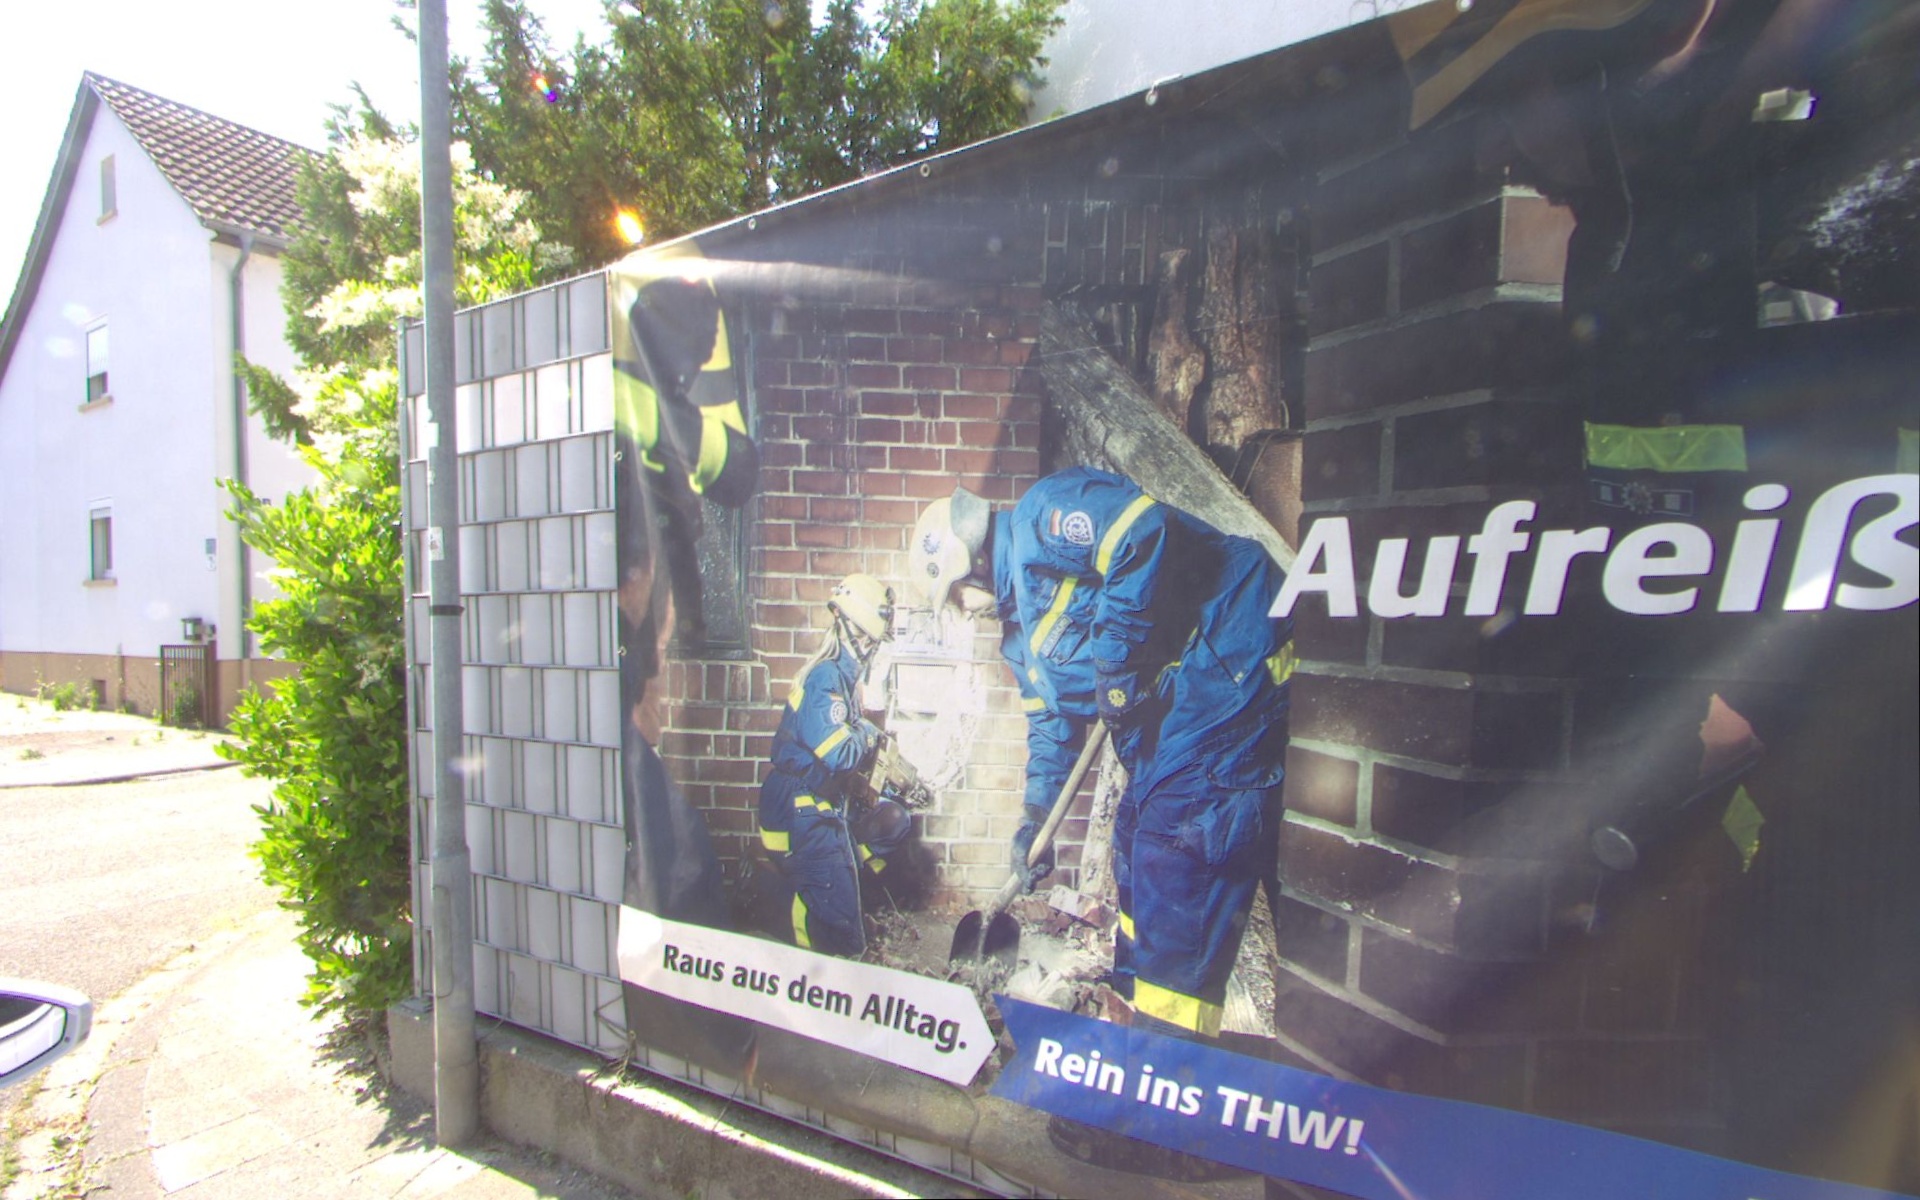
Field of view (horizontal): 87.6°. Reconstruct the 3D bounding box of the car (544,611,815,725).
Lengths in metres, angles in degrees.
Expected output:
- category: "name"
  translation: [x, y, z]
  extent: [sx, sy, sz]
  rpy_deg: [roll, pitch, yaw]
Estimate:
- category: "car"
  translation: [-4.270, 0.961, 15.832]
  extent: [1.771, 1.550, 3.978]
  rpy_deg: [0, -1, 32]
